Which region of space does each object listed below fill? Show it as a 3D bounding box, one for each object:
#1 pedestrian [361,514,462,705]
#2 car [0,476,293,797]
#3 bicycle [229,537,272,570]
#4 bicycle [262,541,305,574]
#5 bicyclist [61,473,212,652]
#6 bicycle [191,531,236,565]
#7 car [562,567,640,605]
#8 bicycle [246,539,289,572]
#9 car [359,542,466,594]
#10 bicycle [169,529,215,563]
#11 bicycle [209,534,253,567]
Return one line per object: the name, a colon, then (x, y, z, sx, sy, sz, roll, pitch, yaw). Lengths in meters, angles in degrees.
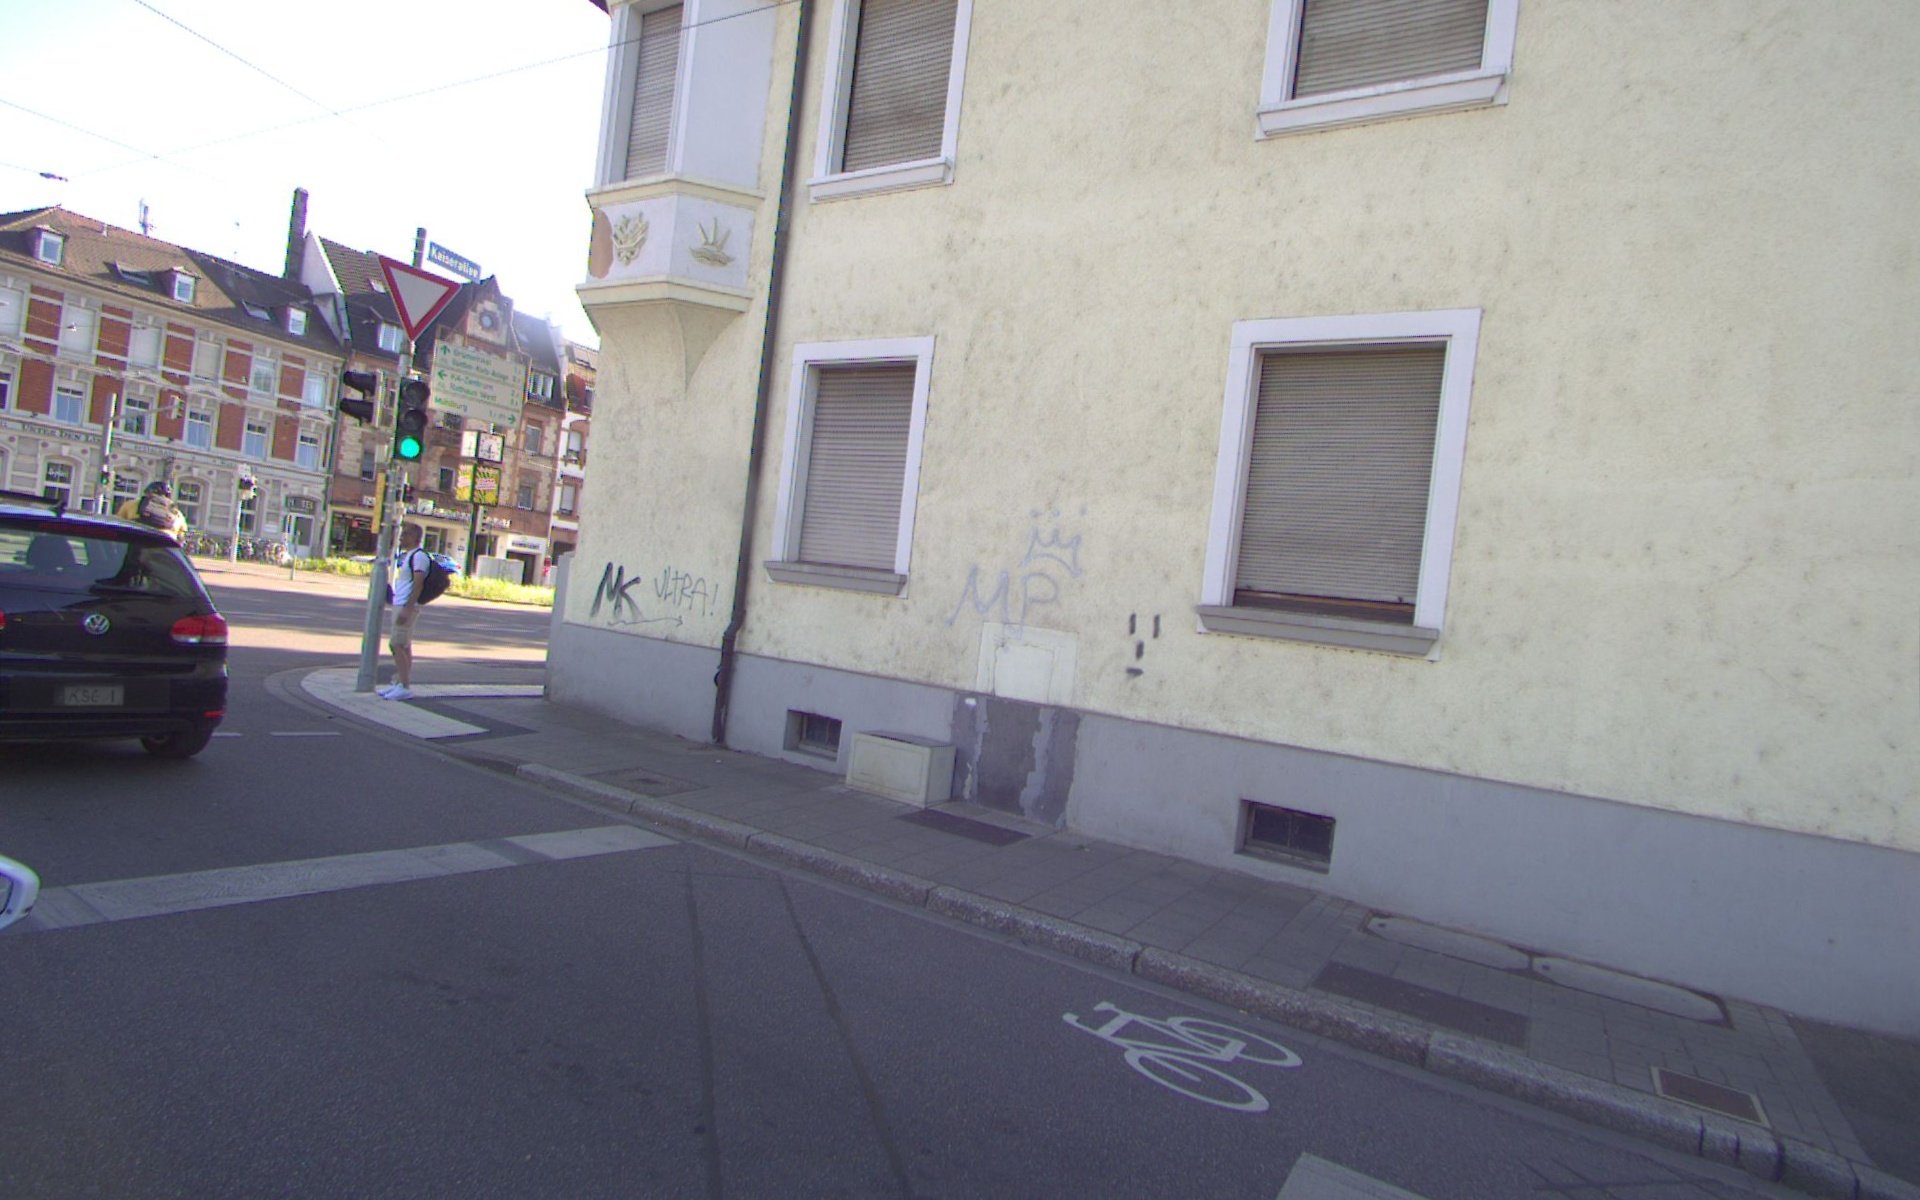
pedestrian: (-5.388, 0.088, 9.908, 0.631, 1.780, 0.584, 4, 3, -7)
car: (-6.138, -0.010, 6.211, 3.983, 1.525, 1.732, 9, -1, 32)
bicycle: (-33.421, -2.216, 47.365, 2.618, 1.301, 0.629, 6, -1, 33)
bicycle: (-32.686, -2.060, 48.584, 2.618, 1.301, 0.629, 6, -1, 33)
bicyclist: (-8.448, -0.372, 10.332, 0.869, 1.682, 0.807, 6, -1, 32)
bicycle: (-34.203, -2.382, 46.068, 2.618, 1.301, 0.693, 6, -1, 33)
car: (-23.251, -0.868, 65.288, 1.967, 1.798, 4.374, 6, -2, 31)
bicycle: (-33.056, -2.135, 47.994, 2.618, 1.301, 0.629, 6, -1, 33)
car: (-25.468, -1.449, 46.909, 1.967, 1.798, 3.790, 6, -2, 31)
bicycle: (-34.650, -2.437, 45.373, 2.618, 1.301, 0.693, 6, -1, 33)
bicycle: (-33.836, -2.320, 46.693, 2.618, 1.301, 0.629, 6, -1, 33)
